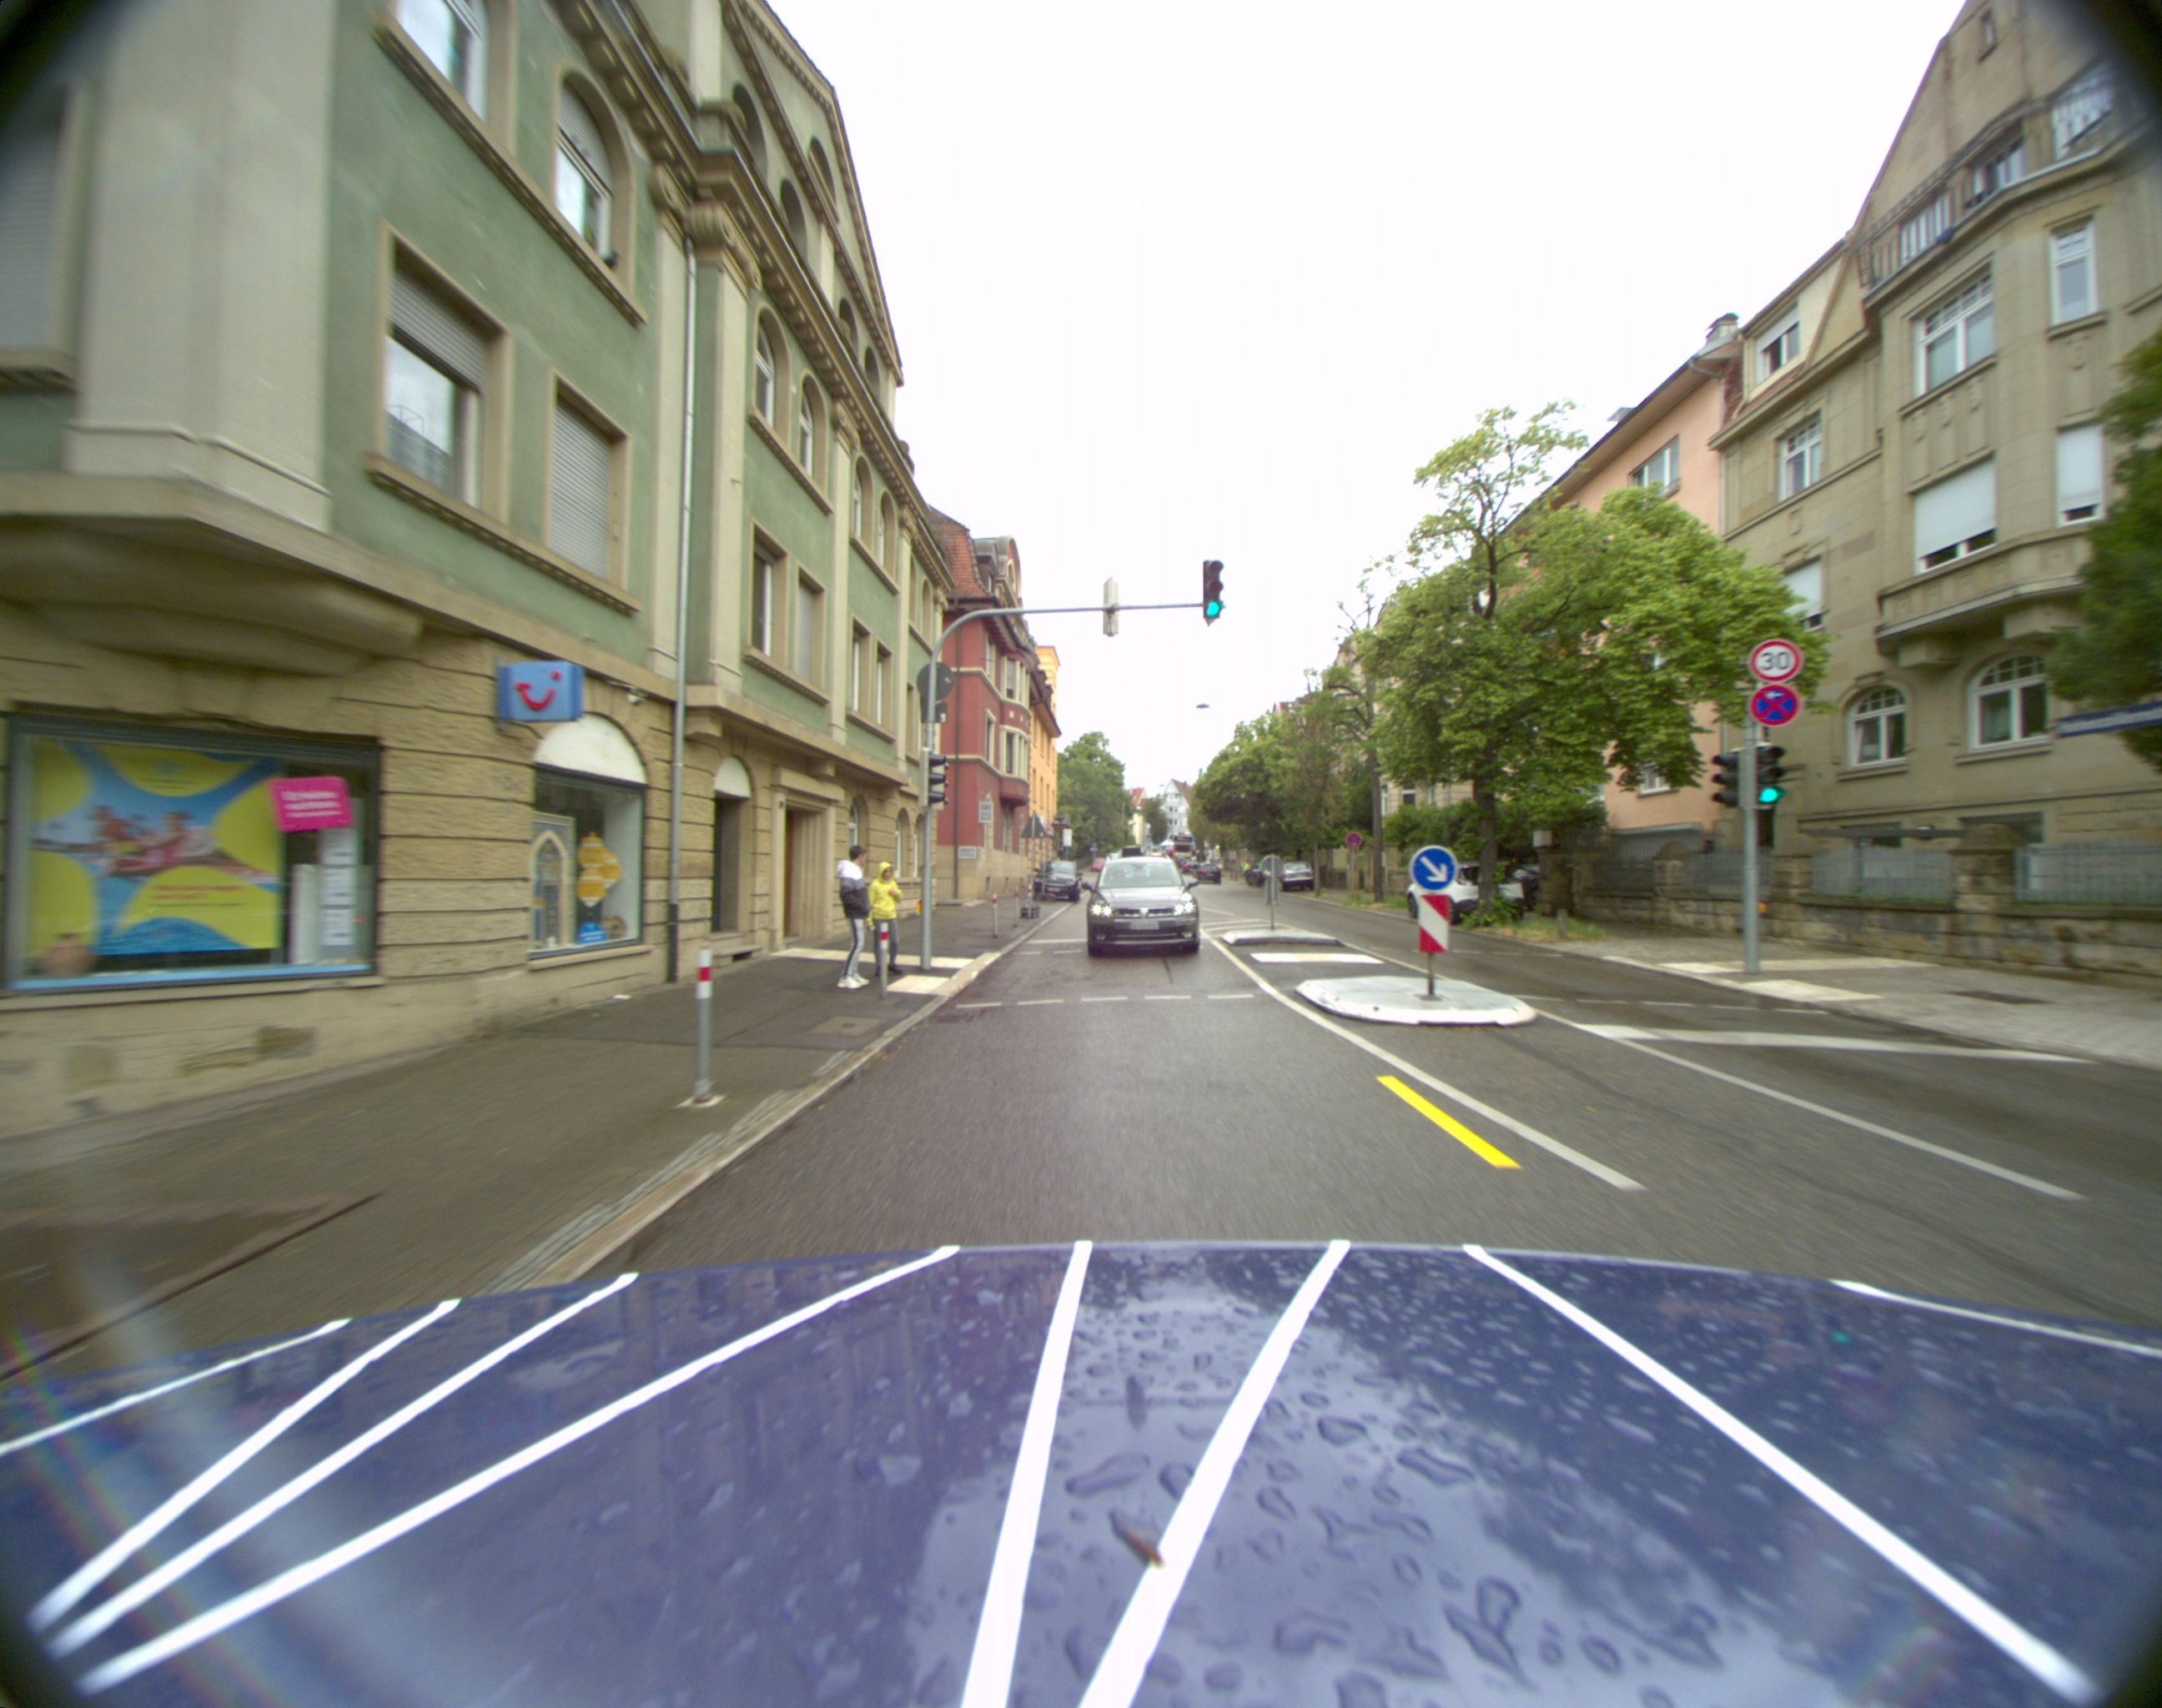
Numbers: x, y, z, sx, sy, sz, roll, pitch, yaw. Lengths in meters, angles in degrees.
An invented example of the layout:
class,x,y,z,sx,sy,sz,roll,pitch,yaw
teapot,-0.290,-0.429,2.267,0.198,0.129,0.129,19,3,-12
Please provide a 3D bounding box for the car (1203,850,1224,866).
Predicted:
class,x,y,z,sx,sy,sz,roll,pitch,yaw
car,14.663,0.430,84.229,1.745,1.550,4.302,-2,1,2

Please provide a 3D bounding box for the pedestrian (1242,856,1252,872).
class,x,y,z,sx,sy,sz,roll,pitch,yaw
pedestrian,15.072,0.887,69.074,0.768,1.424,0.649,1,2,6

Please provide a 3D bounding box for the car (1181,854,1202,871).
class,x,y,z,sx,sy,sz,roll,pitch,yaw
car,11.231,0.889,77.479,1.776,1.507,4.595,-3,-3,4

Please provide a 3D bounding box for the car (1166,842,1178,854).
class,x,y,z,sx,sy,sz,roll,pitch,yaw
car,14.529,-0.907,121.087,1.655,1.699,4.115,2,3,10

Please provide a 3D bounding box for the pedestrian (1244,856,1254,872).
class,x,y,z,sx,sy,sz,roll,pitch,yaw
pedestrian,15.113,0.914,68.395,0.768,1.424,0.649,1,2,6

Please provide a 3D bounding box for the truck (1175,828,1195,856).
class,x,y,z,sx,sy,sz,roll,pitch,yaw
truck,14.815,-1.731,108.845,2.653,3.833,9.311,2,1,7

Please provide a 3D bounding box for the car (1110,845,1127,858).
class,x,y,z,sx,sy,sz,roll,pitch,yaw
car,5.366,-0.349,108.144,1.924,1.642,4.885,4,2,8

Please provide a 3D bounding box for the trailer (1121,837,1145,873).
class,x,y,z,sx,sy,sz,roll,pitch,yaw
trailer,4.627,0.060,67.341,1.966,3.024,2.365,-2,1,4

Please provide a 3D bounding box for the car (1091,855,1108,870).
class,x,y,z,sx,sy,sz,roll,pitch,yaw
car,2.074,0.890,83.885,1.613,1.493,3.958,1,1,4

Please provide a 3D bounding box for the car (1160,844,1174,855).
class,x,y,z,sx,sy,sz,roll,pitch,yaw
car,12.526,-0.637,110.738,1.714,1.471,4.116,2,1,10

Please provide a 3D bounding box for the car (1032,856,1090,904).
class,x,y,z,sx,sy,sz,roll,pitch,yaw
car,-0.762,1.021,31.708,1.881,1.620,4.698,3,2,4

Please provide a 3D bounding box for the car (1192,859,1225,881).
class,x,y,z,sx,sy,sz,roll,pitch,yaw
car,9.441,1.193,56.533,1.820,1.508,4.549,1,-1,2

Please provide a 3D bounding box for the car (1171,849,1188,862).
class,x,y,z,sx,sy,sz,roll,pitch,yaw
car,12.042,0.139,93.249,1.776,1.459,4.747,1,2,4

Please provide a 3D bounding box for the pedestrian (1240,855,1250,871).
class,x,y,z,sx,sy,sz,roll,pitch,yaw
pedestrian,15.056,0.861,69.810,0.767,1.424,0.760,1,2,6

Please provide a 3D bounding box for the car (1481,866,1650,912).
class,x,y,z,sx,sy,sz,roll,pitch,yaw
car,14.853,1.055,23.473,3.996,1.319,1.837,0,0,2

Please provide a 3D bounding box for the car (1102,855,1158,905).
class,x,y,z,sx,sy,sz,roll,pitch,yaw
car,1.838,0.910,29.164,1.925,1.641,4.486,-2,1,3

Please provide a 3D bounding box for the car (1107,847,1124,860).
class,x,y,z,sx,sy,sz,roll,pitch,yaw
car,4.691,-0.076,102.767,1.745,1.455,4.885,4,2,7

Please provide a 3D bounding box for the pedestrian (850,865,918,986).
class,x,y,z,sx,sy,sz,roll,pitch,yaw
pedestrian,-2.706,0.950,10.446,0.663,1.575,0.600,3,1,44

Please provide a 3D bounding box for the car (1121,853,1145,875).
class,x,y,z,sx,sy,sz,roll,pitch,yaw
car,4.420,0.798,64.120,1.924,1.641,4.135,-2,1,4

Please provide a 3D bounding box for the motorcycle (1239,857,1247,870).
class,x,y,z,sx,sy,sz,roll,pitch,yaw
motorcycle,15.818,0.925,74.295,0.657,1.230,1.763,1,2,7

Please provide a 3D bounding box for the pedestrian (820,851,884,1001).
class,x,y,z,sx,sy,sz,roll,pitch,yaw
pedestrian,-2.823,0.858,9.370,0.666,1.764,0.719,2,0,-17

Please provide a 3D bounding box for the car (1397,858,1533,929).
class,x,y,z,sx,sy,sz,roll,pitch,yaw
car,10.147,0.974,20.461,1.745,1.550,4.302,-2,1,4

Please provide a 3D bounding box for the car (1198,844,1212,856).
class,x,y,z,sx,sy,sz,roll,pitch,yaw
car,17.825,-0.599,109.272,2.000,1.586,3.829,-3,1,9

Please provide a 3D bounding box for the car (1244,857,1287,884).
class,x,y,z,sx,sy,sz,roll,pitch,yaw
car,12.040,1.051,49.875,1.746,1.550,4.301,-3,1,1

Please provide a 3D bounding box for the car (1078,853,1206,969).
class,x,y,z,sx,sy,sz,roll,pitch,yaw
car,1.053,0.822,13.608,1.859,1.641,5.196,0,1,4

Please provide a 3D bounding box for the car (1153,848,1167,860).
class,x,y,z,sx,sy,sz,roll,pitch,yaw
car,10.774,-0.049,103.352,1.766,1.423,3.886,0,2,9

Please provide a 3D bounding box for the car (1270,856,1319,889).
class,x,y,z,sx,sy,sz,roll,pitch,yaw
car,11.675,0.970,41.715,1.745,1.550,4.302,-2,1,4

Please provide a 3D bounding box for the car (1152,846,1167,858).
class,x,y,z,sx,sy,sz,roll,pitch,yaw
car,9.994,-0.256,96.527,1.775,1.509,4.101,1,1,7
